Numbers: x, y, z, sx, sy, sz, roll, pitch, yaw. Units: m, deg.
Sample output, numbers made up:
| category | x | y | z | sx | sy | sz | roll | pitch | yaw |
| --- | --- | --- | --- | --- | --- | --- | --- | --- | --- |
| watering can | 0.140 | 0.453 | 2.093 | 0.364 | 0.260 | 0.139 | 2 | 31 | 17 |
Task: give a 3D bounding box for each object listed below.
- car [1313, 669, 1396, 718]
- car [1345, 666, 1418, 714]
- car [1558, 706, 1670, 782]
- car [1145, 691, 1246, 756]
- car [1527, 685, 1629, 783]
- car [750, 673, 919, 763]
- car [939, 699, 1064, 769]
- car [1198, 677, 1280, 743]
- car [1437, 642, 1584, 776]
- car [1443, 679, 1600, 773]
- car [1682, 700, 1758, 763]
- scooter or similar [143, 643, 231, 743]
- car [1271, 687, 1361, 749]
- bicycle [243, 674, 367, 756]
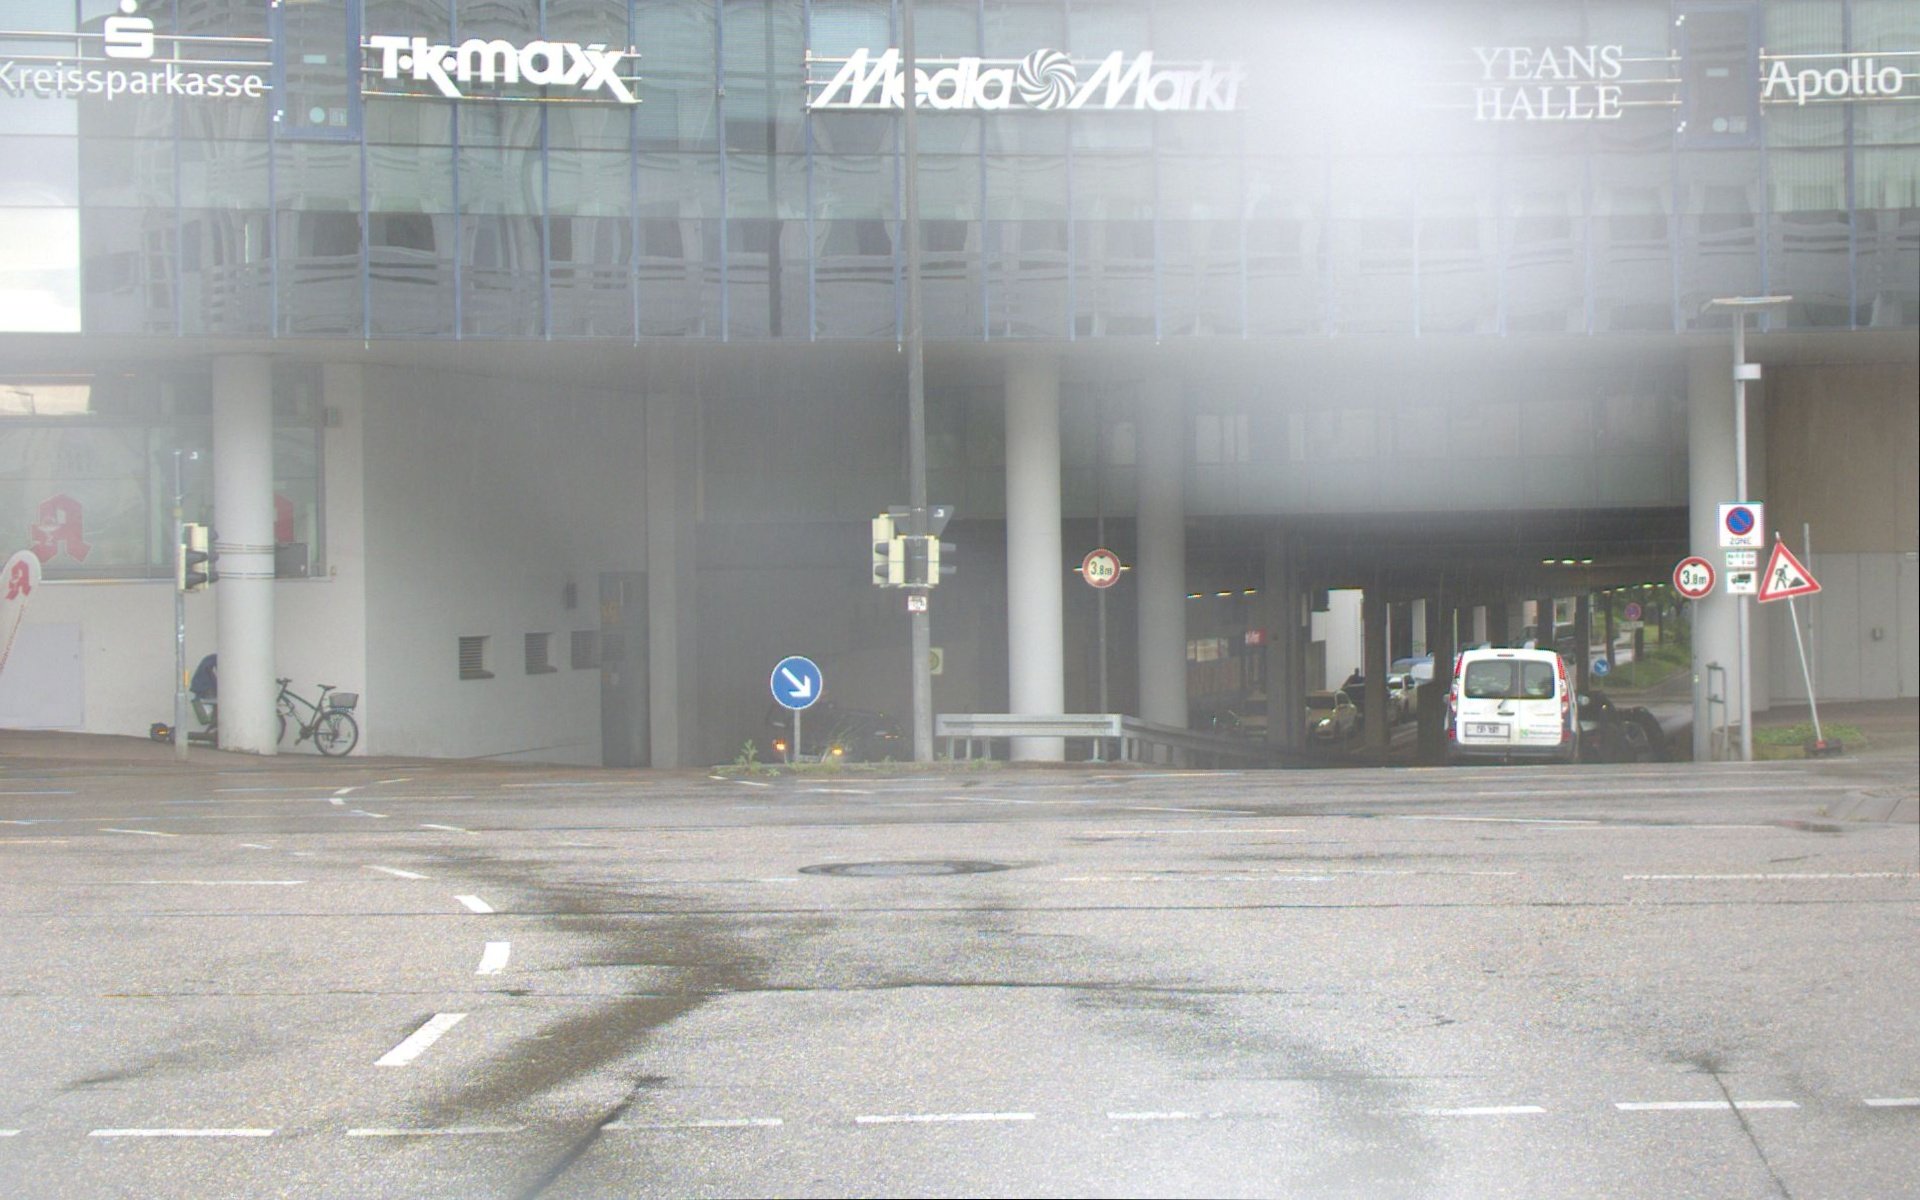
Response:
| category | x | y | z | sx | sy | sz | roll | pitch | yaw |
| --- | --- | --- | --- | --- | --- | --- | --- | --- | --- |
| car | 12.582 | 2.964 | 109.513 | 1.995 | 1.459 | 3.997 | -1 | -1 | 15 |
| car | 14.079 | 2.983 | 114.595 | 1.994 | 1.459 | 3.998 | -1 | -1 | 13 |
| car | 12.570 | 2.784 | 65.891 | 1.781 | 1.396 | 3.996 | -1 | -3 | 15 |
| car | 6.279 | 3.264 | 91.285 | 1.916 | 1.582 | 3.936 | -1 | -1 | 15 |
| car | 10.994 | 2.407 | 60.993 | 1.633 | 1.606 | 4.259 | -2 | -4 | 11 |
| car | -2.241 | 2.174 | 62.543 | 1.894 | 1.465 | 4.023 | -1 | -4 | 16 |
| car | 0.923 | 2.896 | 74.423 | 1.772 | 1.459 | 3.872 | -1 | -2 | 15 |
| car | 7.824 | 3.067 | 96.084 | 1.837 | 1.722 | 3.998 | 0 | 0 | 11 |
| car | 7.829 | 1.521 | 48.622 | 1.926 | 1.791 | 4.294 | -1 | -1 | 10 |
| car | 9.221 | 2.090 | 56.252 | 1.759 | 1.459 | 3.938 | -2 | -3 | 21 |
| car | 20.115 | 3.465 | 90.896 | 1.889 | 1.486 | 3.838 | 1 | 0 | 13 |
| scooter or similar | -10.836 | 1.301 | 48.203 | 1.166 | 1.368 | 0.489 | 1 | 0 | -15 |
| car | 10.566 | 3.476 | 101.872 | 1.995 | 1.658 | 3.997 | 1 | 0 | 15 |
| bicycle | -9.272 | 1.630 | 48.703 | 1.581 | 1.014 | 0.452 | 6 | -2 | -31 |
